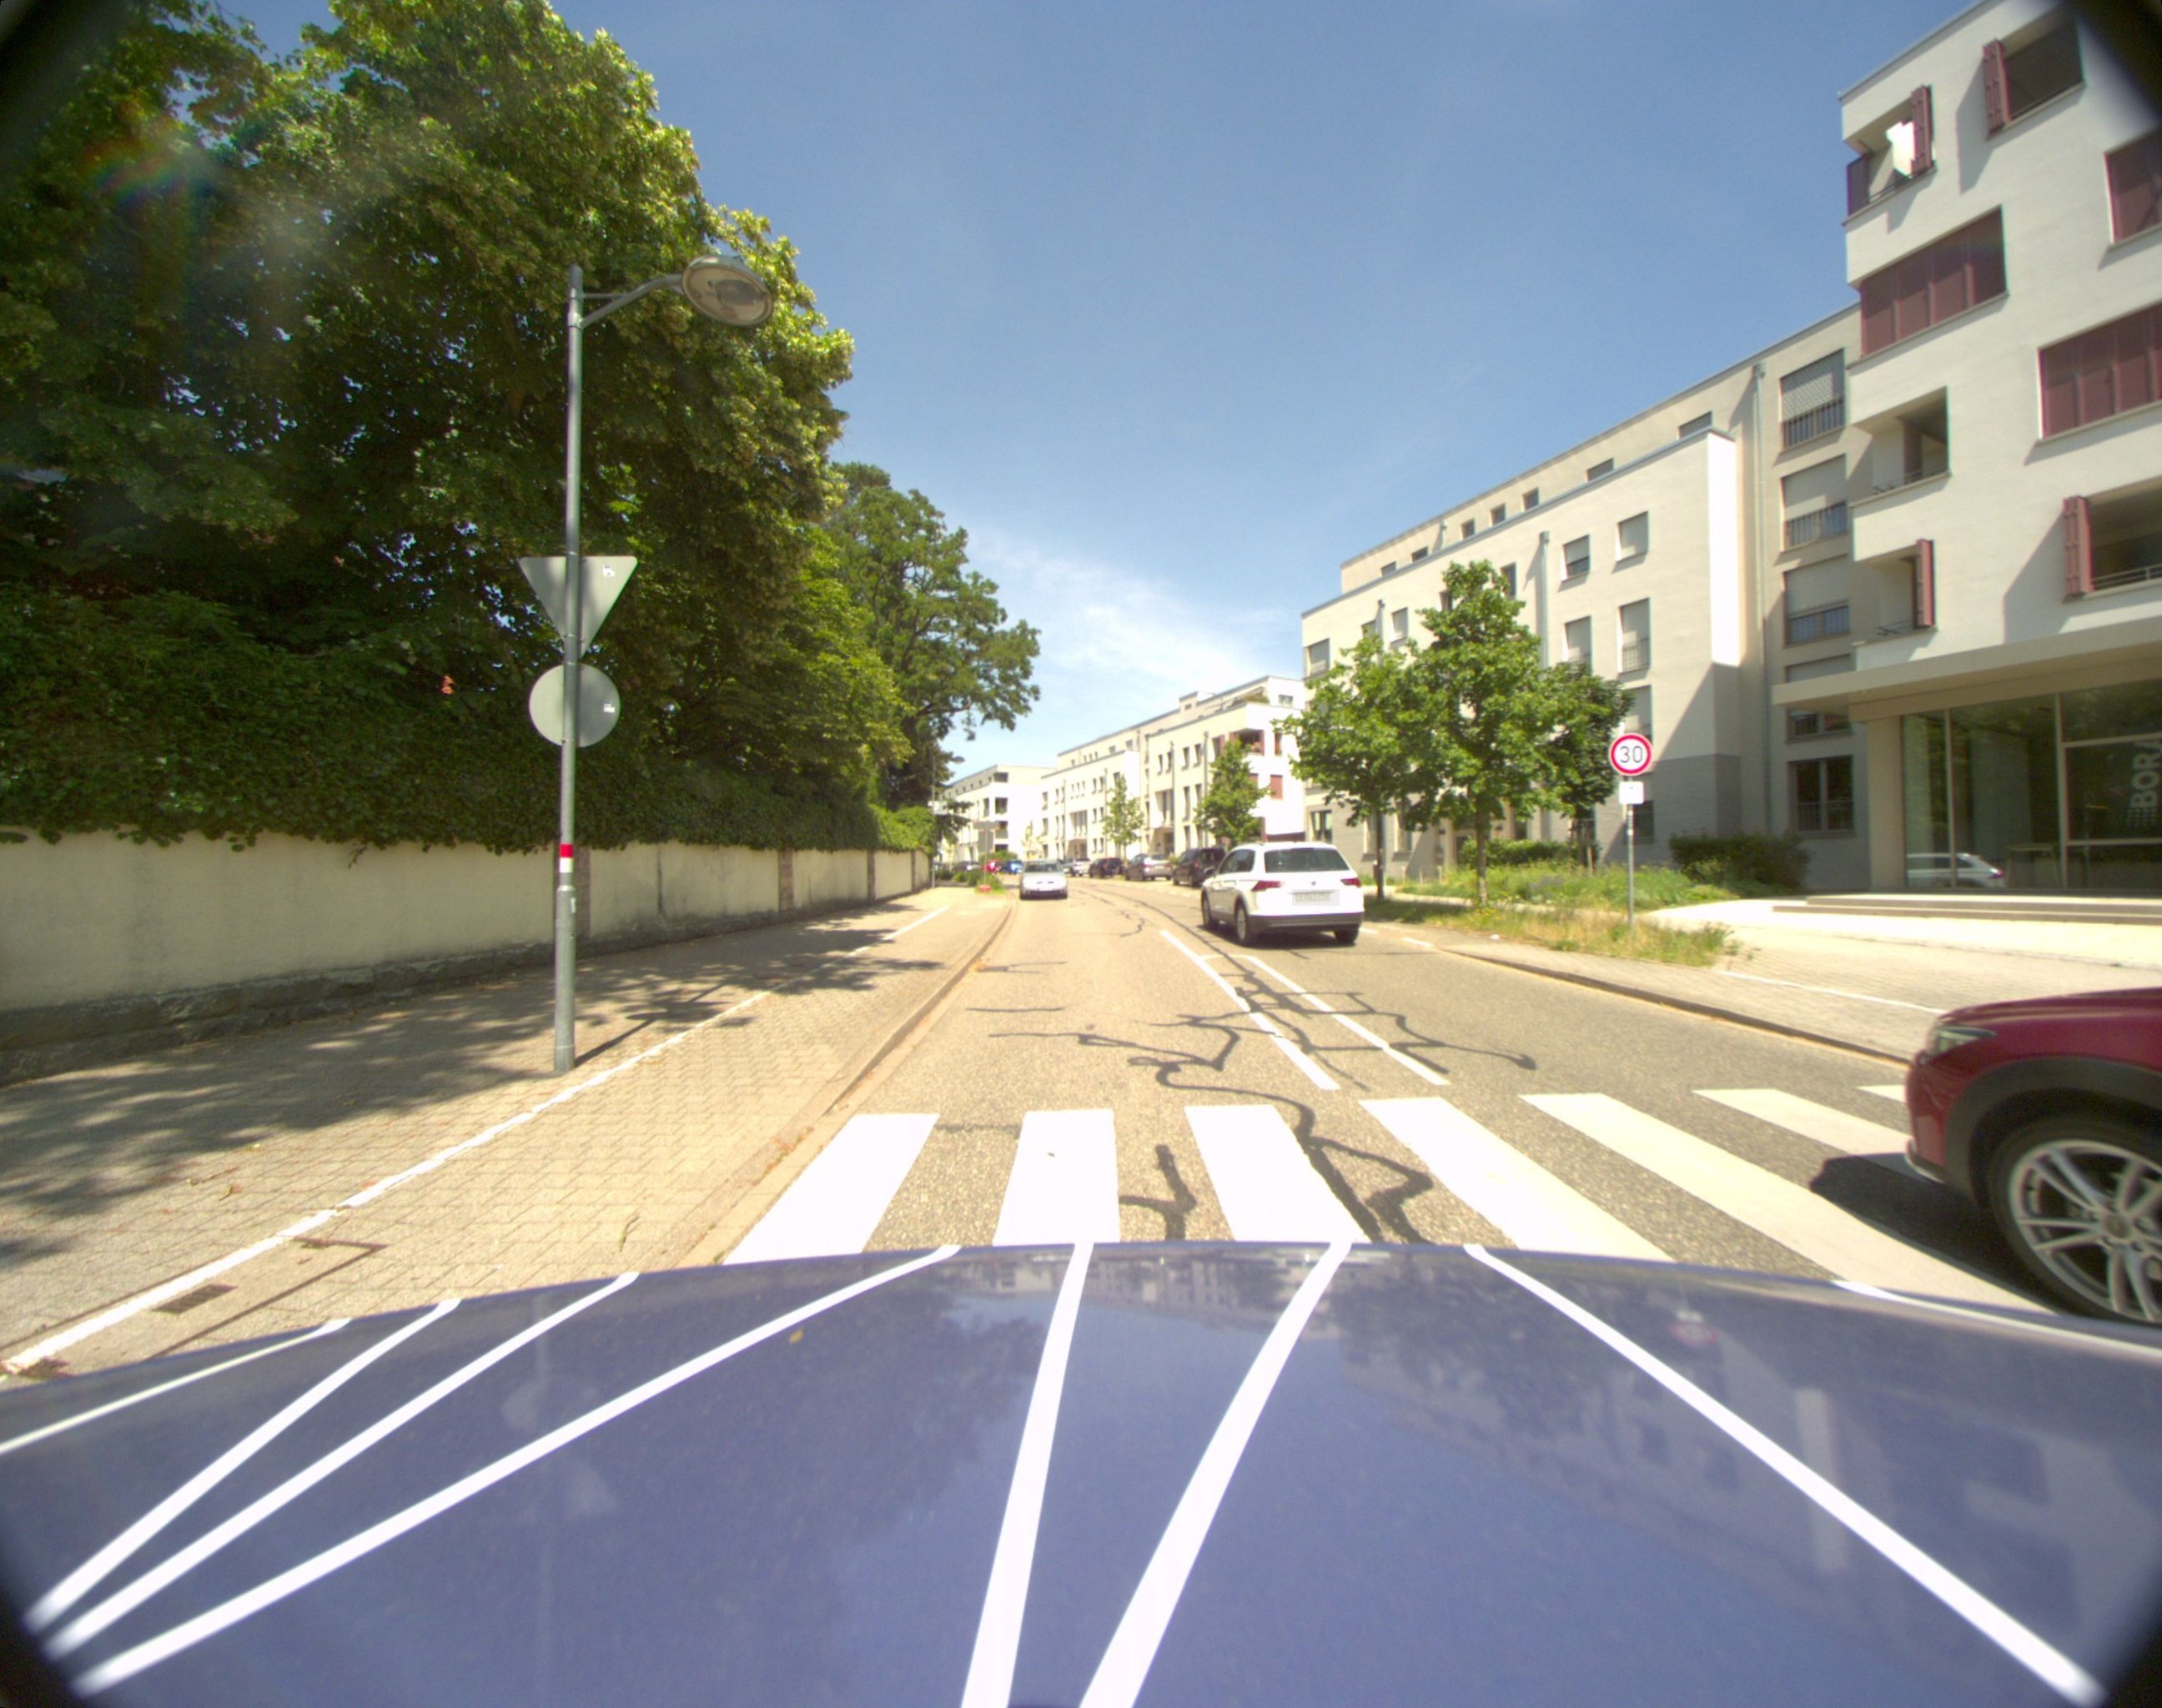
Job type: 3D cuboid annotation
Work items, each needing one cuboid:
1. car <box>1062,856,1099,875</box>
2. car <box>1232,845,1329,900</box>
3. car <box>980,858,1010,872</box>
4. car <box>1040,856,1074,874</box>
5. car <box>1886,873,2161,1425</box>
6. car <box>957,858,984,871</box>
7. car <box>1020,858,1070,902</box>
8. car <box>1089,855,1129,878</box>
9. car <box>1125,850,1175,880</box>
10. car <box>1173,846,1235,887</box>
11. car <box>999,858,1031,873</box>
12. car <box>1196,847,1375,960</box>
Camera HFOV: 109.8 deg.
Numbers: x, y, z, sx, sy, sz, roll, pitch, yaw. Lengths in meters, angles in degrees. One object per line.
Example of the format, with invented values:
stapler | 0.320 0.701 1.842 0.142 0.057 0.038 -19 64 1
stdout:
car | -0.071 0.844 57.471 1.708 1.405 3.716 -1 0 -17
car | 6.488 0.553 25.168 1.699 1.628 4.018 -1 0 -8
car | -8.816 1.087 77.720 1.710 1.405 3.713 -2 0 -29
car | -2.051 0.905 63.860 1.709 1.405 3.715 -1 0 -20
car | 3.916 0.813 0.826 1.755 1.496 3.991 -1 0 -2
car | -12.099 1.120 83.266 1.710 1.405 3.713 -2 0 -29
car | -1.375 0.883 27.898 1.608 1.443 3.998 -1 0 -6
car | 1.847 0.811 51.393 1.708 1.405 3.623 -1 0 -14
car | 3.877 0.612 43.340 1.792 1.580 3.623 -1 0 -13
car | 5.420 0.531 33.887 1.699 1.690 3.625 -1 0 -8
car | -6.366 1.082 72.829 1.710 1.405 3.713 -2 0 -29
car | 3.292 0.714 13.106 1.815 1.599 4.119 -1 0 -2
